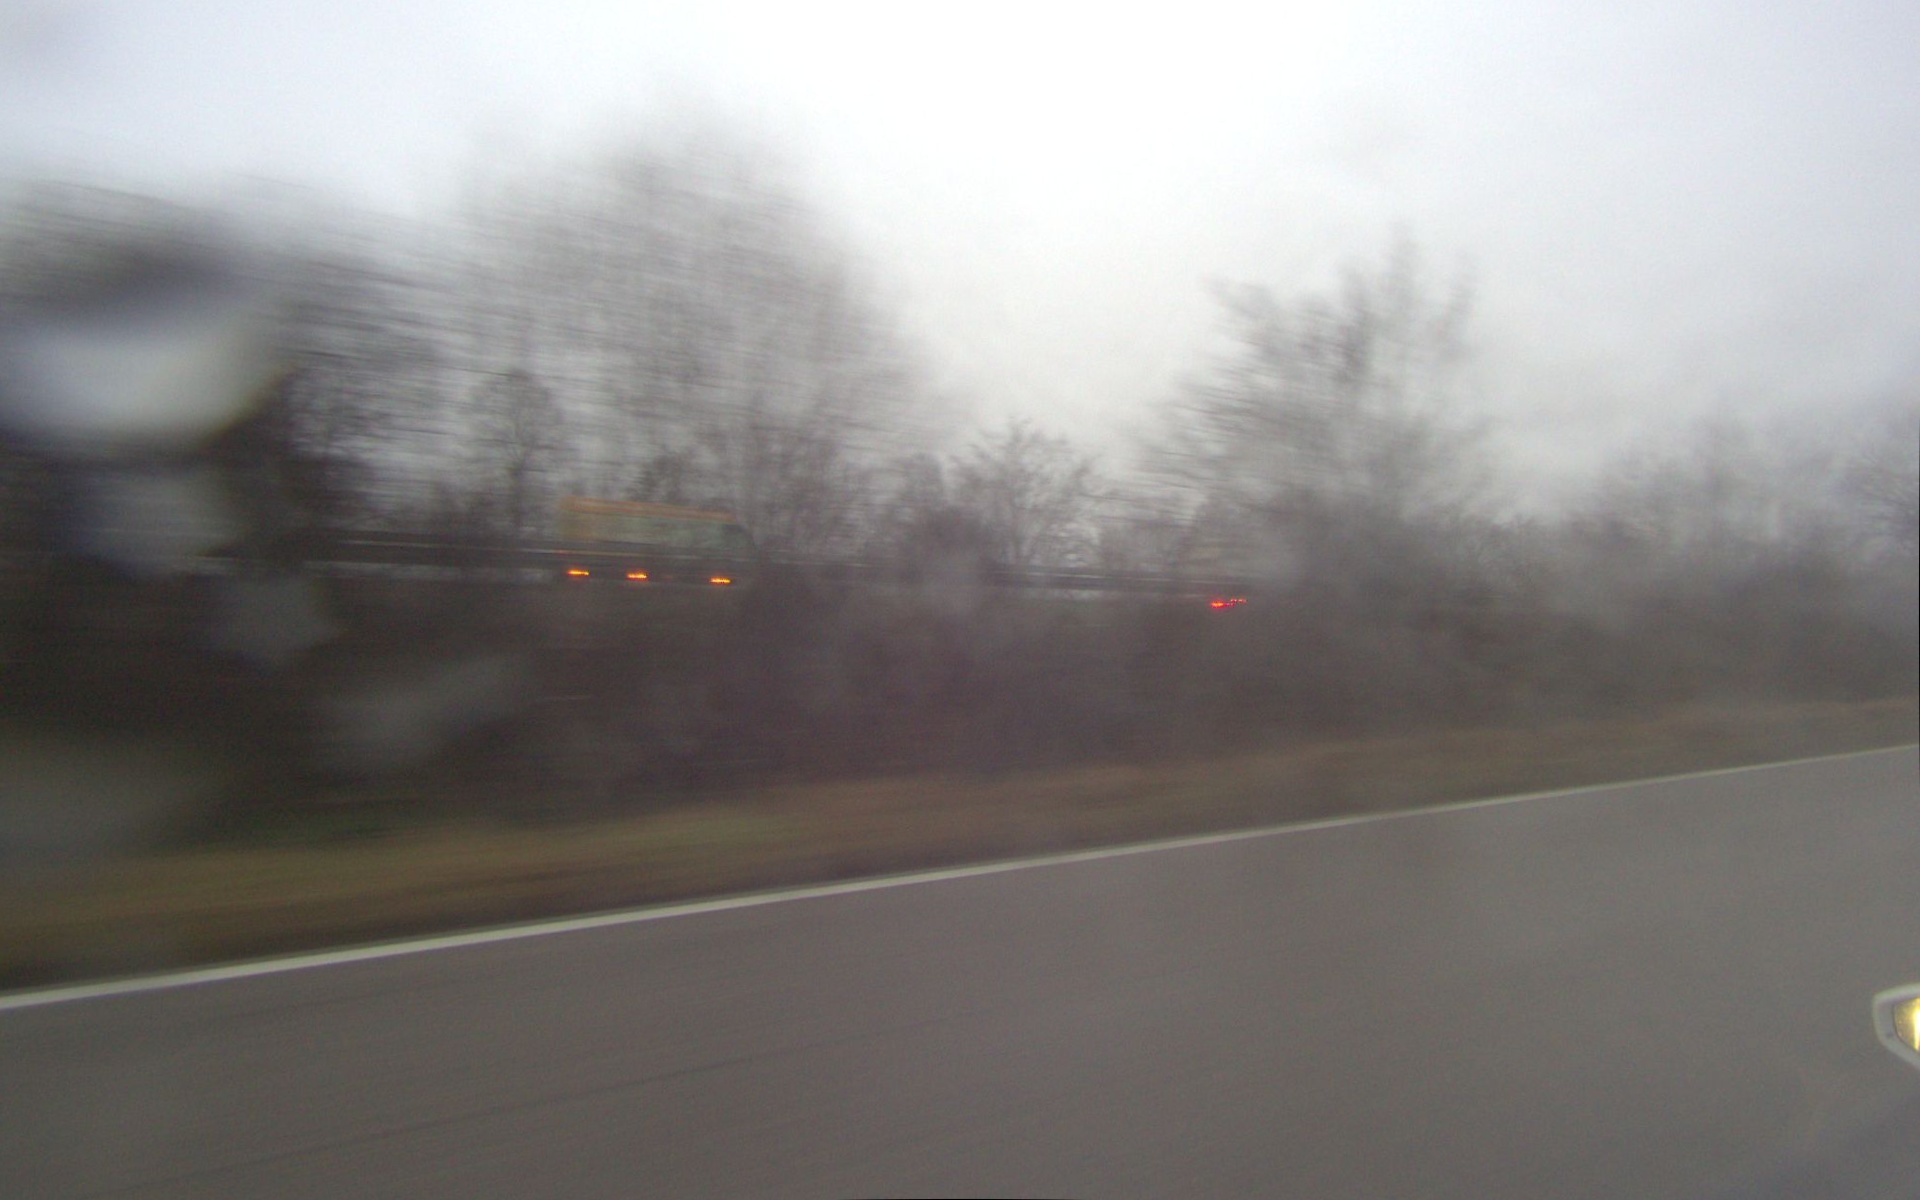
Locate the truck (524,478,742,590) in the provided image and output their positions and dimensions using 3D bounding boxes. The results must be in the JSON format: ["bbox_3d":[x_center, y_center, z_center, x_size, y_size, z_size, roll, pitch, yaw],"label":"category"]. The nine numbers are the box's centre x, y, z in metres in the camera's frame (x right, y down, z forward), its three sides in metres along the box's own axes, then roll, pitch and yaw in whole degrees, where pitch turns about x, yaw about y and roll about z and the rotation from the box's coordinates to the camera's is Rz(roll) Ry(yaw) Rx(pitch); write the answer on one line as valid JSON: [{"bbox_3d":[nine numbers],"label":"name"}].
[{"bbox_3d":[-8.016,-1.510,24.777,4.773,2.374,1.984,2,0,-31],"label":"truck"}]

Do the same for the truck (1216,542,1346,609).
[{"bbox_3d":[13.520,-0.960,42.202,5.592,2.526,1.984,2,0,-31],"label":"truck"}]
